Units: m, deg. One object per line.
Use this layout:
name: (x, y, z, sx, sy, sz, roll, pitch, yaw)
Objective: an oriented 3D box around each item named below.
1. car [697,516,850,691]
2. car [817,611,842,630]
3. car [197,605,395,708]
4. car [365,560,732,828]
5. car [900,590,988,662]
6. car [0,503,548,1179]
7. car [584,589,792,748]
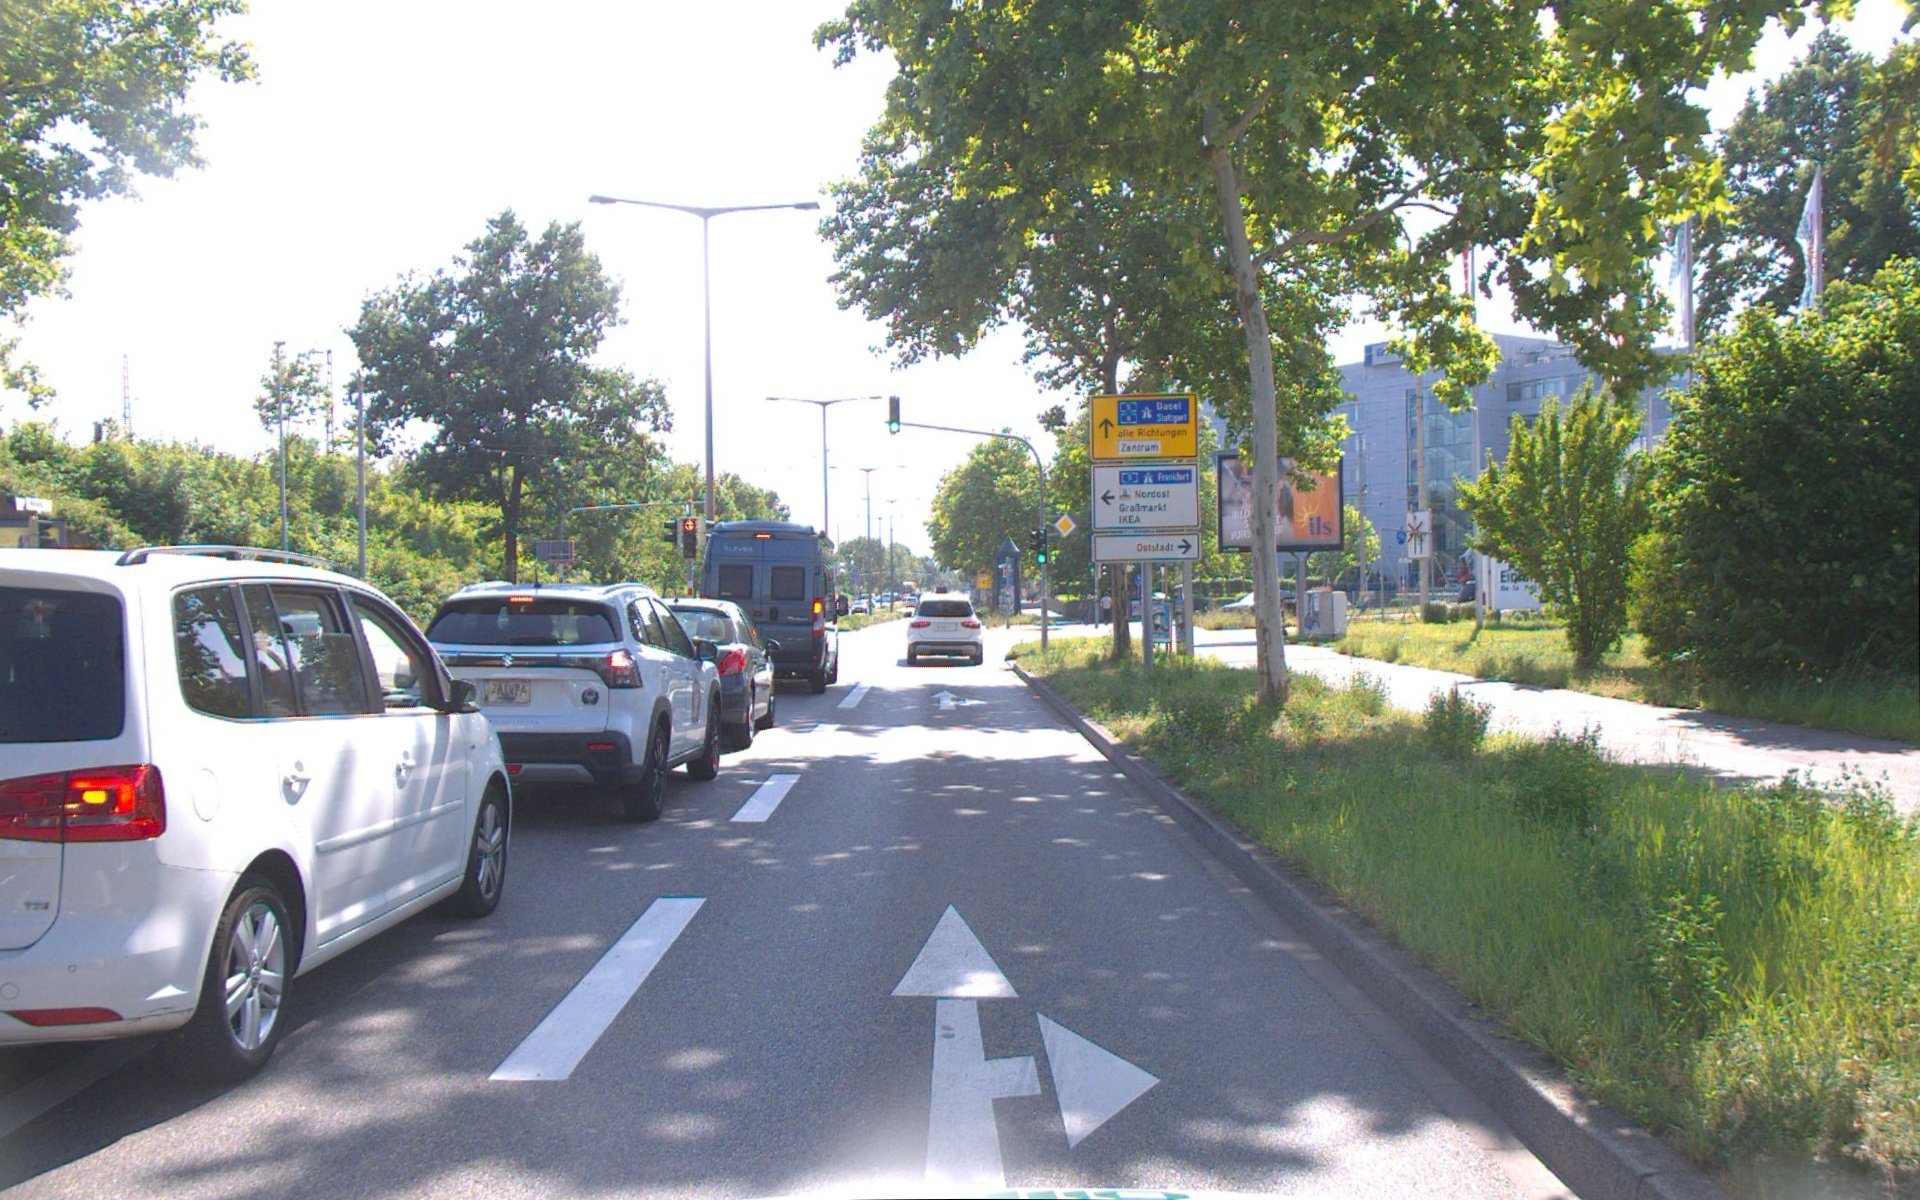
car: (-3.086, 0.077, 28.377, 2.039, 2.703, 4.873, 1, -1, 0)
car: (-8.200, 1.298, 104.051, 1.341, 1.132, 3.206, -1, 0, -1)
car: (-11.017, 0.885, 27.768, 1.703, 1.512, 4.157, -2, 0, -2)
car: (-2.862, 0.607, 12.428, 1.735, 1.676, 4.084, 0, -1, 0)
car: (-0.336, 0.582, 40.165, 1.815, 1.635, 4.002, 1, 1, 4)
car: (-2.980, 0.611, 6.279, 1.735, 1.676, 4.351, 0, -1, 0)
car: (-2.870, 0.680, 18.205, 1.657, 1.531, 3.885, 1, 0, -1)
